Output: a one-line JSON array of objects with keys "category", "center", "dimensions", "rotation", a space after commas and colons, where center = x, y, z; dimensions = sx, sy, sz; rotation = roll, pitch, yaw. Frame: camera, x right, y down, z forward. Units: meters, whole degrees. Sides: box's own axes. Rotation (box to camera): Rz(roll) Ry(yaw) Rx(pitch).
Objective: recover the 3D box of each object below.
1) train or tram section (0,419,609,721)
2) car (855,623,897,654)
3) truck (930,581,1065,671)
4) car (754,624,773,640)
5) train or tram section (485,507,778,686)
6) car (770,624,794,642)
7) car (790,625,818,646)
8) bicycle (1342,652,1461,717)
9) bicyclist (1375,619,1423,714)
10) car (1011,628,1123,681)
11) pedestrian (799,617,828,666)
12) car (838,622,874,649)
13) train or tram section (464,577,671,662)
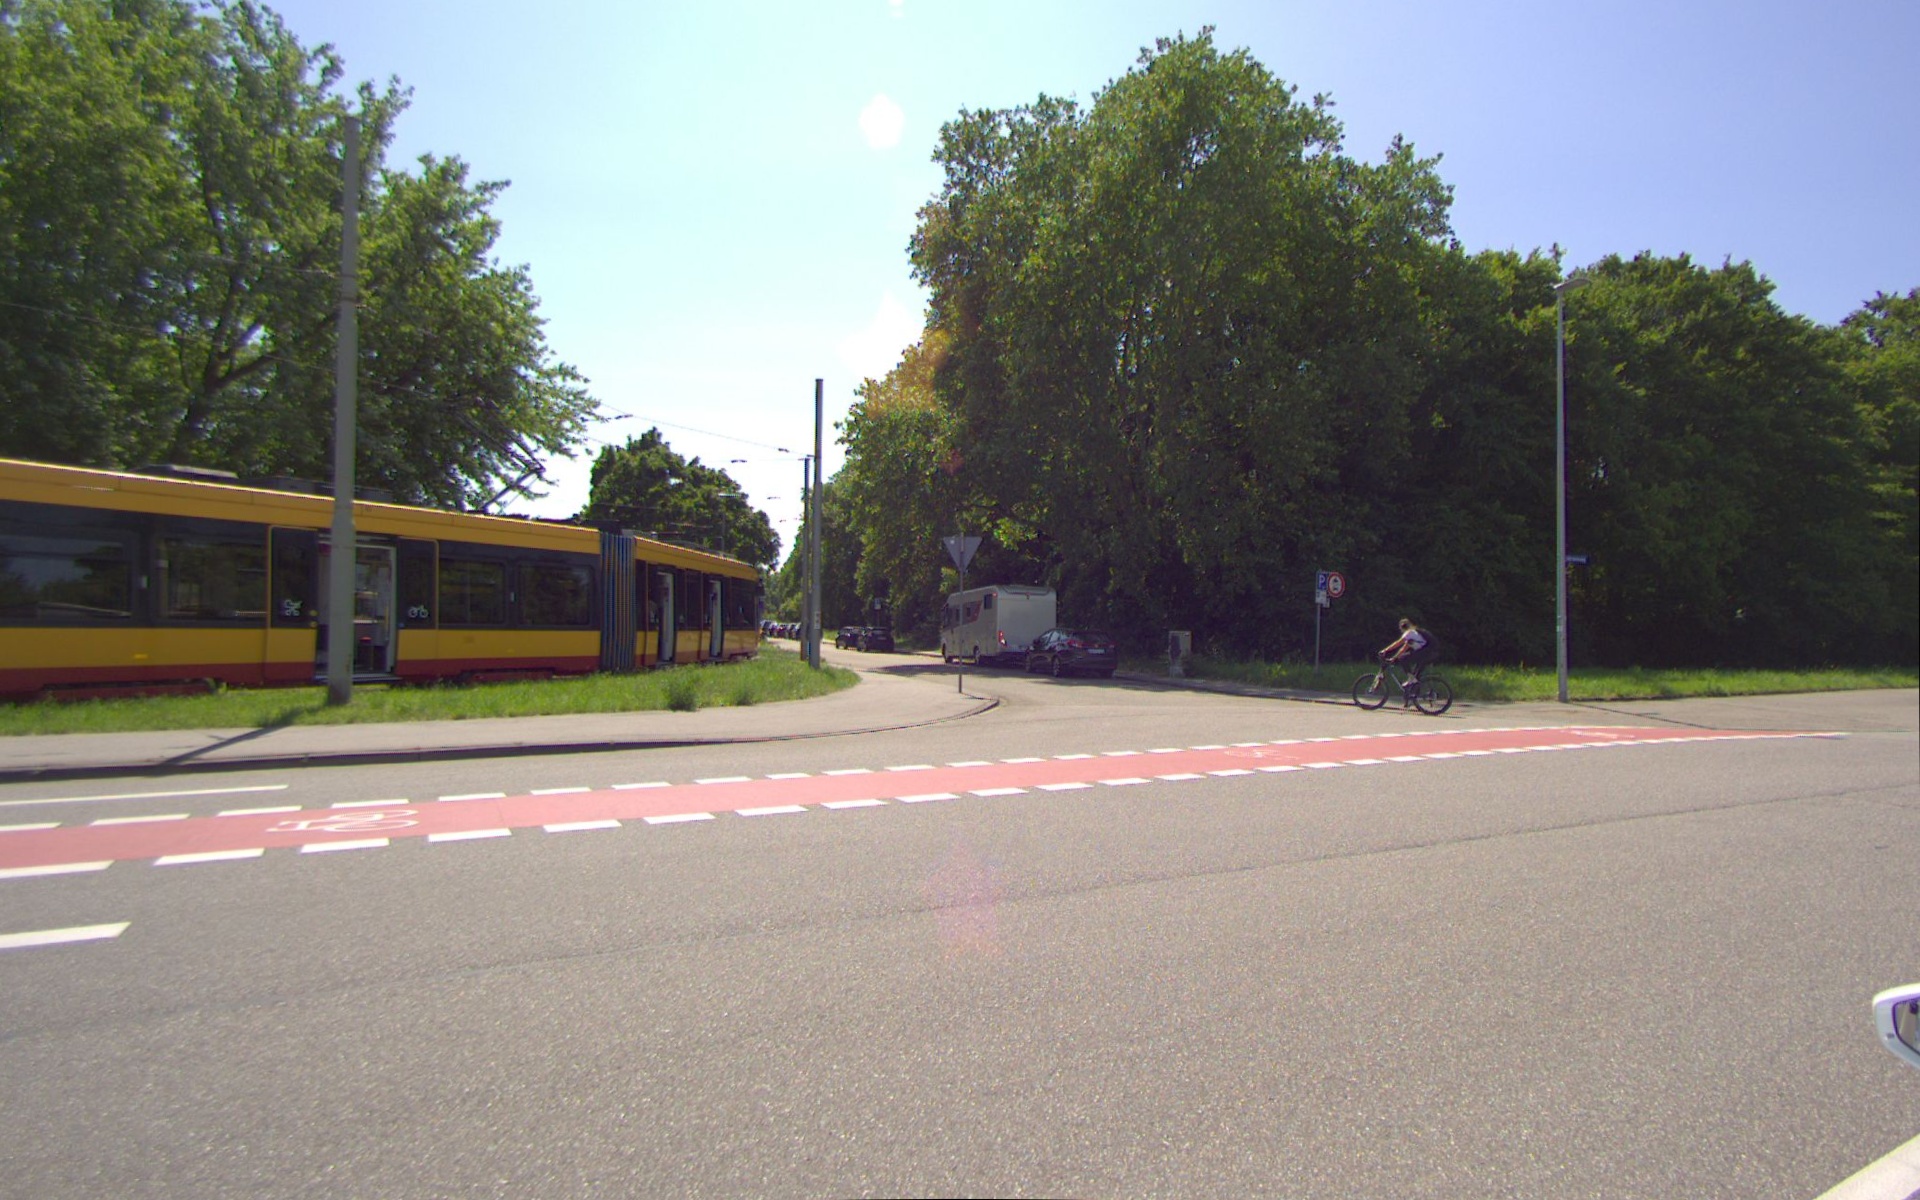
[{"category": "train or tram section", "center": [-11.499, -0.213, 16.911], "dimensions": [2.971, 3.808, 11.601], "rotation": [-1, -2, 28]}, {"category": "car", "center": [-4.862, 2.184, 57.933], "dimensions": [1.865, 1.639, 4.205], "rotation": [1, -1, -13]}, {"category": "truck", "center": [1.179, 0.976, 37.199], "dimensions": [2.528, 2.948, 7.312], "rotation": [2, -2, -19]}, {"category": "car", "center": [-21.939, 3.532, 112.010], "dimensions": [1.867, 1.639, 4.202], "rotation": [1, -1, -15]}, {"category": "train or tram section", "center": [-8.301, 0.207, 28.480], "dimensions": [2.965, 3.808, 14.057], "rotation": [0, -2, 3]}, {"category": "car", "center": [-17.639, 3.226, 99.415], "dimensions": [1.867, 1.639, 4.202], "rotation": [1, 0, -15]}, {"category": "car", "center": [-13.500, 3.055, 86.748], "dimensions": [1.867, 1.639, 4.202], "rotation": [1, -1, -15]}, {"category": "bicycle", "center": [8.325, 1.574, 18.958], "dimensions": [2.008, 1.069, 0.670], "rotation": [1, 0, 28]}, {"category": "bicyclist", "center": [8.315, 1.239, 19.010], "dimensions": [0.755, 1.728, 0.666], "rotation": [1, 0, 28]}, {"category": "car", "center": [3.155, 1.611, 30.590], "dimensions": [1.642, 1.435, 4.293], "rotation": [3, -2, -20]}, {"category": "pedestrian", "center": [-5.264, 1.487, 36.044], "dimensions": [0.844, 1.732, 0.804], "rotation": [1, 0, -26]}, {"category": "car", "center": [-6.787, 2.282, 65.099], "dimensions": [1.865, 1.639, 4.205], "rotation": [1, -1, -13]}, {"category": "train or tram section", "center": [-20.074, 1.110, 50.599], "dimensions": [13.973, 3.808, 3.014], "rotation": [-2, -3, 38]}]
